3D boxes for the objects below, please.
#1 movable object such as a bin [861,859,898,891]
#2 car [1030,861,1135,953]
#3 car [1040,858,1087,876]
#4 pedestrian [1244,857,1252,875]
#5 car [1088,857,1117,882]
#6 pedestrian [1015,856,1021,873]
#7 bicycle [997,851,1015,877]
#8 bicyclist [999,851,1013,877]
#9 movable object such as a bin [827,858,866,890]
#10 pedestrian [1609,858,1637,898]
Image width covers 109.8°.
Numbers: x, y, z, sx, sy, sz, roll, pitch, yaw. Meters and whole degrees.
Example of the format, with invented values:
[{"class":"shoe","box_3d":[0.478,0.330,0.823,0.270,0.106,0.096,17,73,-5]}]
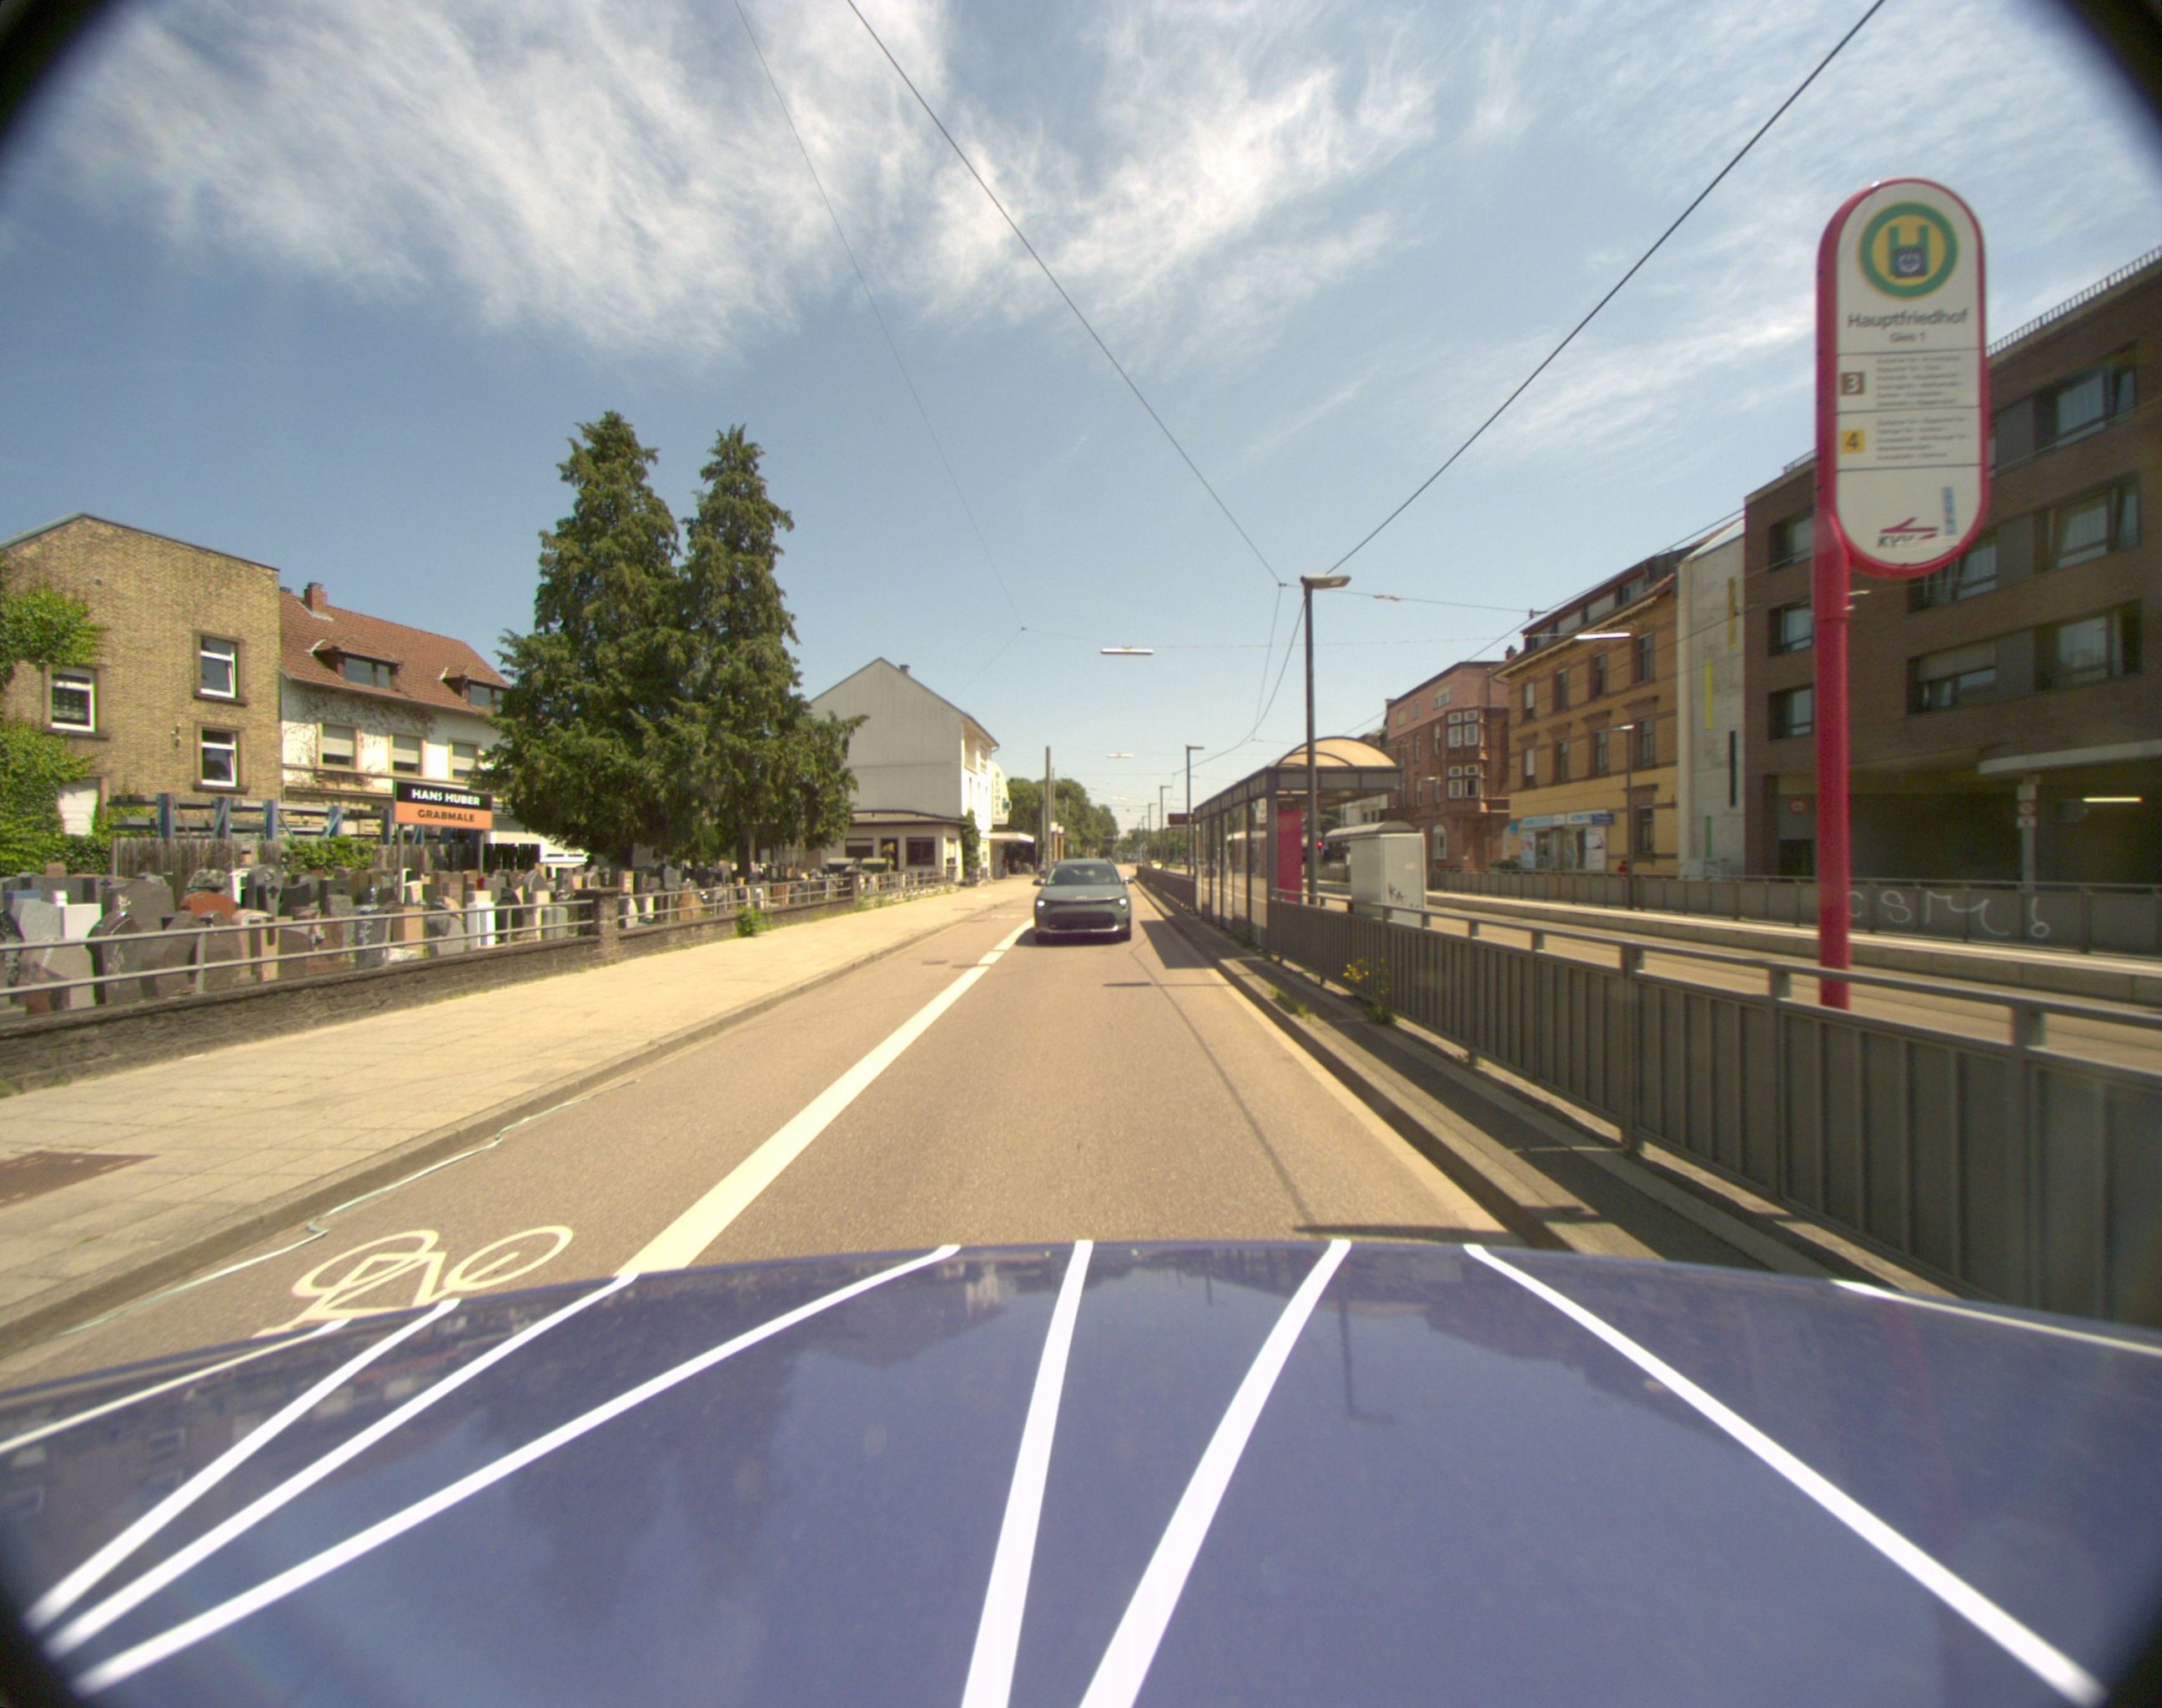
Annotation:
[{"class":"movable object such as a bin","box_3d":[-9.411,0.960,35.549,1.390,1.472,1.151,-1,0,3]},{"class":"car","box_3d":[0.073,0.953,15.621,1.827,1.546,4.487,-1,0,1]},{"class":"car","box_3d":[-1.505,1.129,66.256,3.995,1.508,1.698,0,0,4]},{"class":"pedestrian","box_3d":[15.180,1.072,69.185,0.597,1.615,0.676,1,0,3]},{"class":"car","box_3d":[1.443,1.000,51.303,1.748,1.546,4.487,-3,0,1]},{"class":"pedestrian","box_3d":[-6.062,0.986,72.922,0.536,1.588,0.425,-2,0,-10]},{"class":"bicycle","box_3d":[-5.655,0.765,57.431,0.799,1.889,1.960,2,0,10]},{"class":"bicyclist","box_3d":[-5.666,0.756,57.361,0.790,1.863,0.888,2,0,10]},{"class":"movable object such as a bin","box_3d":[-11.024,0.939,35.751,1.390,1.472,1.152,-1,0,6]},{"class":"pedestrian","box_3d":[21.794,0.942,30.560,0.604,1.586,0.715,-1,0,0]}]
